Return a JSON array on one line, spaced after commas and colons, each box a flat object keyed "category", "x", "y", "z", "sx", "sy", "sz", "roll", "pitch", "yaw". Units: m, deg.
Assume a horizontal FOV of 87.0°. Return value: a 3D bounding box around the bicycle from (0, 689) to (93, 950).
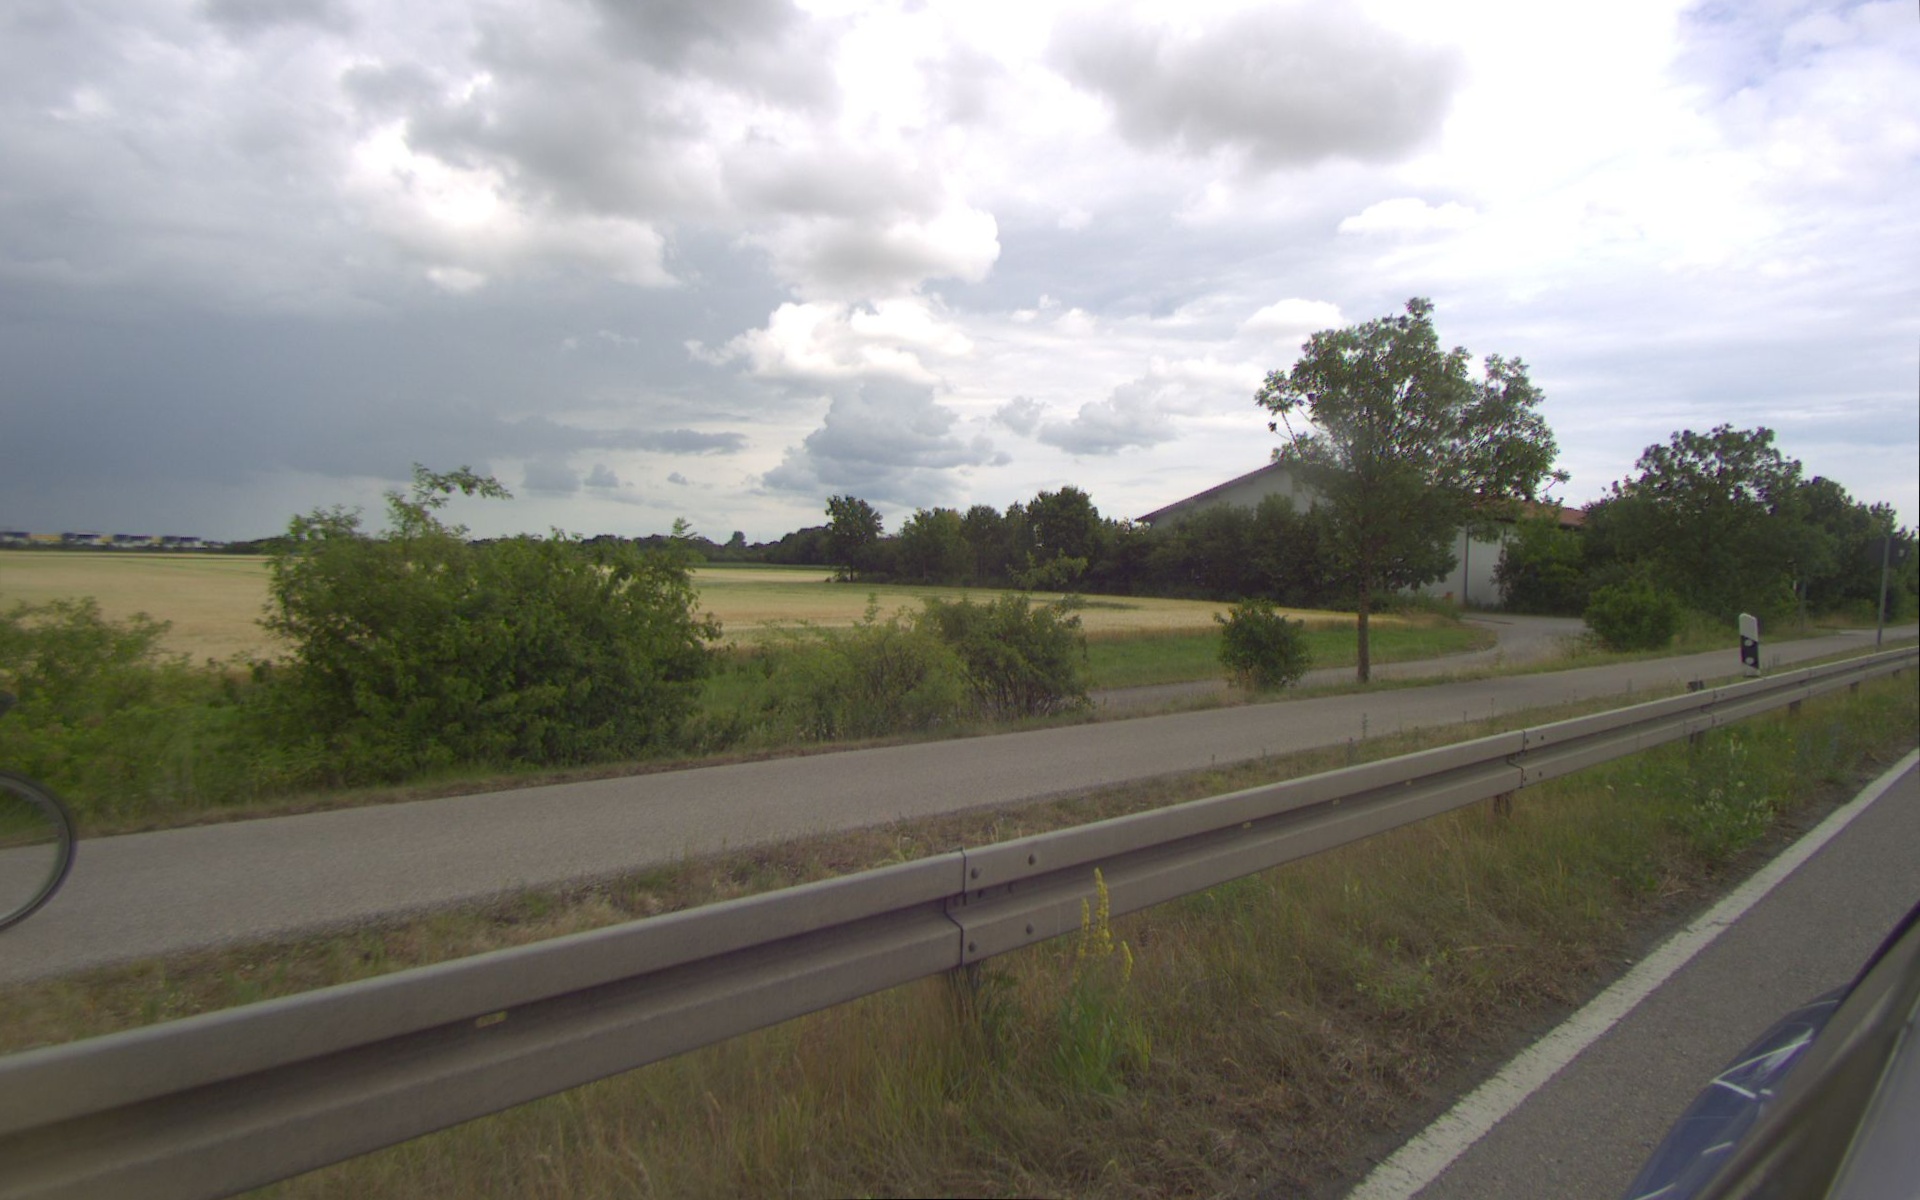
[{"category": "bicycle", "x": -4.418, "y": 0.889, "z": 3.770, "sx": 1.798, "sy": 0.931, "sz": 0.667, "roll": 0, "pitch": 2, "yaw": -41}]
